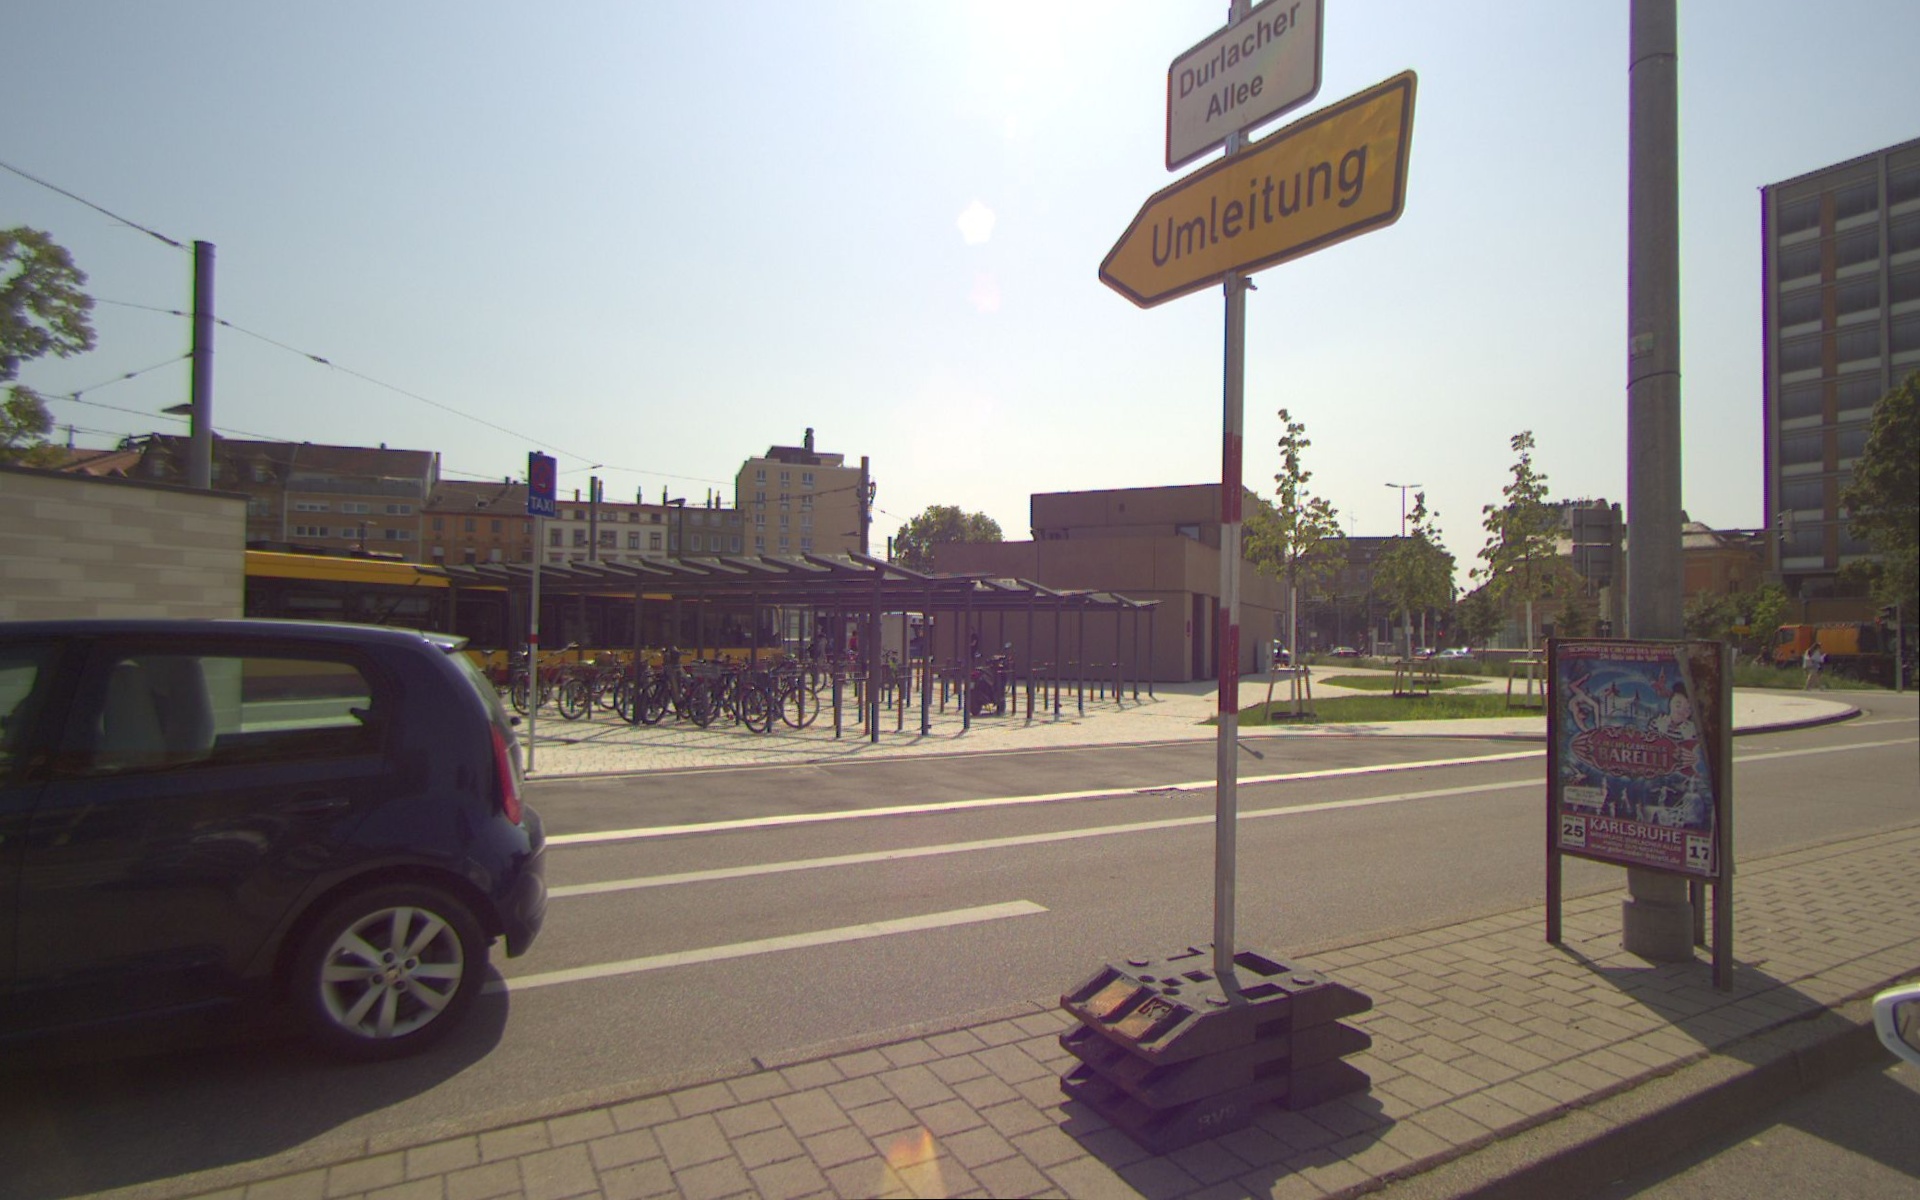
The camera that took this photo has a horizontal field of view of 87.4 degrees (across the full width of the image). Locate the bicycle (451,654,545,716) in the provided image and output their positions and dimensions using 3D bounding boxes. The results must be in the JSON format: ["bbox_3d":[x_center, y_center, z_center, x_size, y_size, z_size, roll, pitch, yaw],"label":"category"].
[{"bbox_3d":[-8.261,1.502,18.026,0.457,1.046,1.546,0,-2,28],"label":"bicycle"}]

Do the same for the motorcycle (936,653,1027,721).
[{"bbox_3d":[0.457,1.659,19.654,0.596,1.226,2.245,-1,-2,37],"label":"motorcycle"}]

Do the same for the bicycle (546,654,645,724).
[{"bbox_3d":[-6.103,1.467,16.908,0.457,1.077,1.692,0,-2,28],"label":"bicycle"}]

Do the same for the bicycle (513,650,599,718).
[{"bbox_3d":[-7.100,1.456,17.701,0.457,1.115,1.421,0,-2,28],"label":"bicycle"}]

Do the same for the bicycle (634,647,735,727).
[{"bbox_3d":[-4.475,1.392,16.408,0.532,1.226,1.608,-1,-2,34],"label":"bicycle"}]

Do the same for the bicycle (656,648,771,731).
[{"bbox_3d":[-3.900,1.394,16.042,0.596,1.226,1.804,-1,-2,37],"label":"bicycle"}]

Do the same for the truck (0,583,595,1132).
[{"bbox_3d":[-3.229,0.738,3.386,3.576,1.524,1.549,1,-3,-28],"label":"truck"}]

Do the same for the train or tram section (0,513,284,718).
[{"bbox_3d":[-19.827,0.104,14.455,2.812,3.595,17.729,0,-2,25],"label":"train or tram section"}]

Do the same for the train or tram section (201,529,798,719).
[{"bbox_3d":[-11.813,0.889,30.918,2.842,4.121,19.123,0,-2,26],"label":"train or tram section"}]

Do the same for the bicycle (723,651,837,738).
[{"bbox_3d":[-2.732,1.410,15.422,0.596,1.226,1.804,-1,-2,37],"label":"bicycle"}]

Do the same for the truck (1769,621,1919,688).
[{"bbox_3d":[43.225,2.595,48.946,2.653,3.029,5.965,1,-2,-3],"label":"truck"}]

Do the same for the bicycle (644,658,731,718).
[{"bbox_3d":[-5.040,1.609,18.688,0.457,1.016,1.758,0,-2,28],"label":"bicycle"}]

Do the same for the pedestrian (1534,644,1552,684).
[{"bbox_3d":[23.209,2.539,39.996,0.520,1.573,0.417,0,-2,16],"label":"pedestrian"}]

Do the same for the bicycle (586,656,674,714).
[{"bbox_3d":[-6.307,1.603,19.269,0.457,1.016,1.758,0,-2,28],"label":"bicycle"}]
